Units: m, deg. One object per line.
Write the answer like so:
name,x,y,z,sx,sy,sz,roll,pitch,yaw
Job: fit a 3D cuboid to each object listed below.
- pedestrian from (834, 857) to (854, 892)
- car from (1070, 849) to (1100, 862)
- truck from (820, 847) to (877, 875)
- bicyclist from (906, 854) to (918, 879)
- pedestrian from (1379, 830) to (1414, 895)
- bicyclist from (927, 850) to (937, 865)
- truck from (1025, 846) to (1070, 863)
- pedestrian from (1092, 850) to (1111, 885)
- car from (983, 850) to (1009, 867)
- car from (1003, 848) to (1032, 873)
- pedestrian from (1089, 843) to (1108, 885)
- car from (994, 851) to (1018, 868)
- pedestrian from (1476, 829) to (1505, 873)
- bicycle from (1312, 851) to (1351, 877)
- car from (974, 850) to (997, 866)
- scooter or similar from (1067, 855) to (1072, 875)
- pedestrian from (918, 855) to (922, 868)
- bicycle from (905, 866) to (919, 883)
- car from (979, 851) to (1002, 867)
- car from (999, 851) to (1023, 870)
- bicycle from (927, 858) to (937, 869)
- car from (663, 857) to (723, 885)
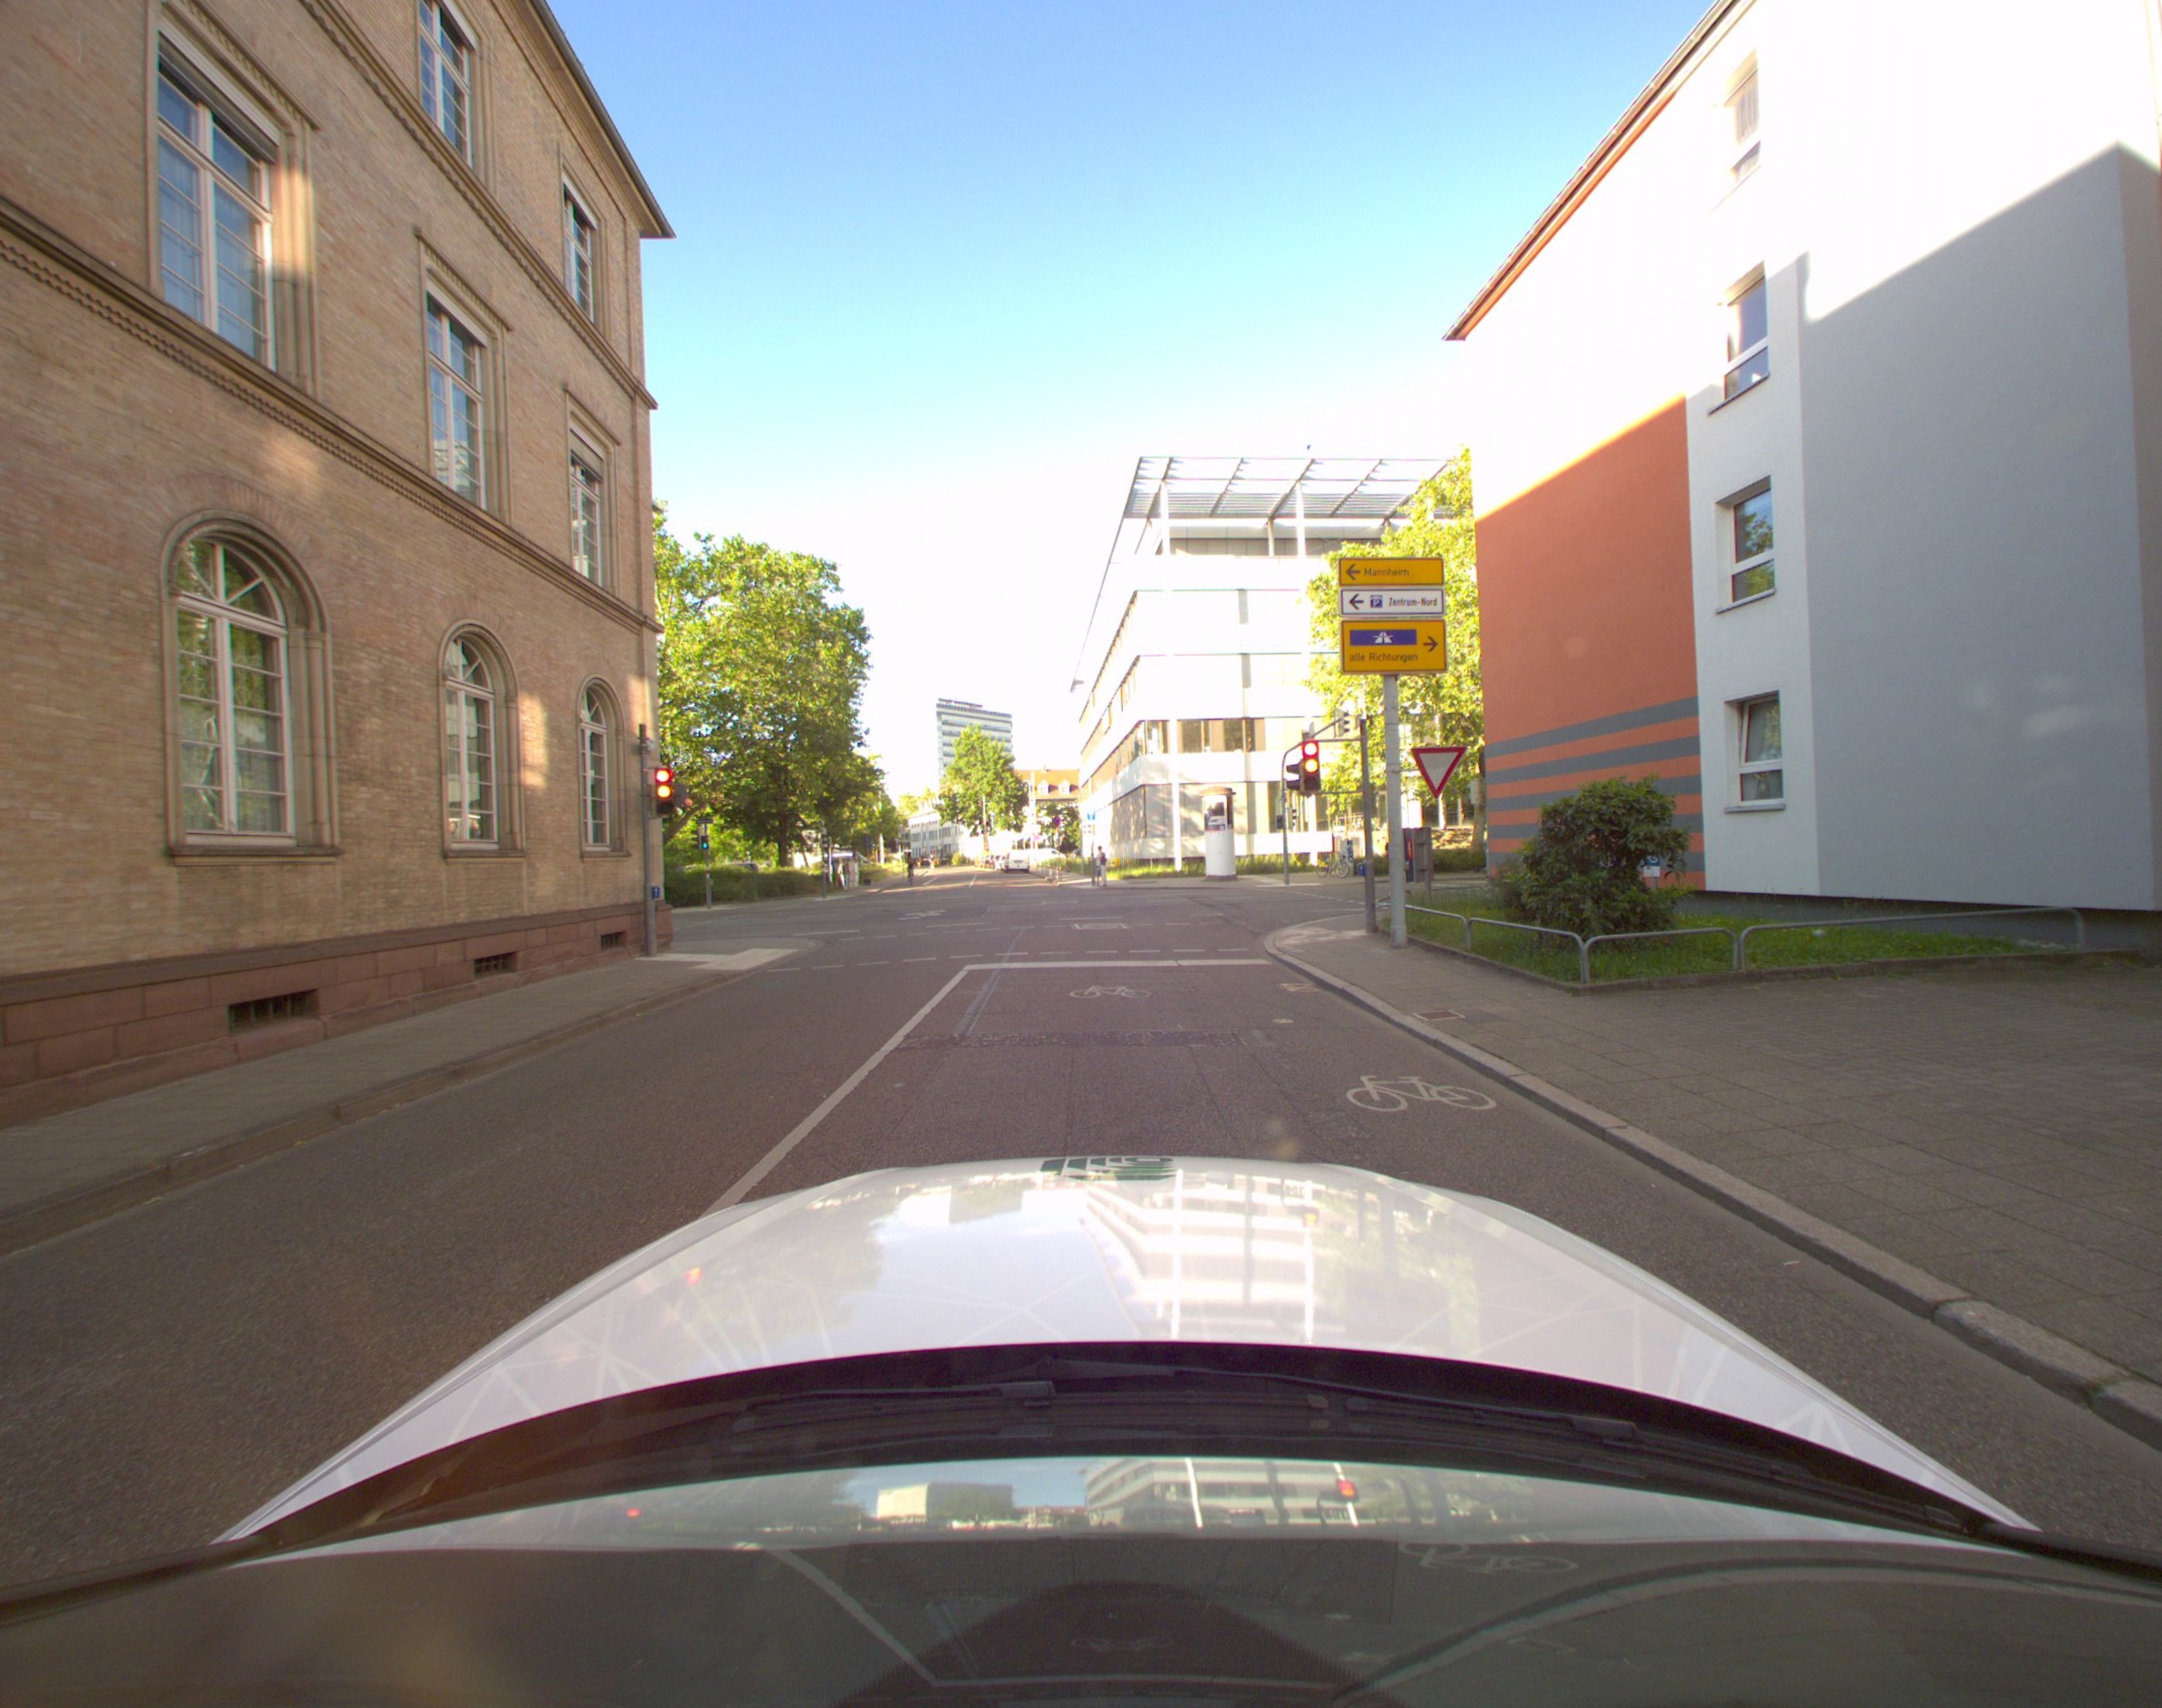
pedestrian,-12.239,1.041,42.133,0.702,1.723,0.953,-3,0,-5
car,0.520,0.208,104.400,3.563,1.546,1.549,-2,0,-17
truck,-21.602,0.609,75.802,4.825,2.399,2.082,-2,0,-8
bicyclist,-10.327,0.760,49.775,0.615,1.532,0.901,-3,0,-7
pedestrian,9.072,0.247,23.449,0.704,1.840,0.837,0,0,1
bicyclist,-16.059,0.343,87.636,0.866,1.515,1.016,-5,0,-9
truck,-4.231,0.105,103.330,5.351,2.013,1.988,-2,0,-17
pedestrian,0.924,0.615,37.291,0.561,1.540,0.673,-5,1,-16
car,-9.016,0.461,85.936,1.893,1.655,4.390,-2,1,-16
car,-5.096,0.468,64.993,2.084,1.795,4.403,-2,1,-8
pedestrian,0.832,0.457,37.900,0.555,1.850,0.680,-5,1,18
car,-7.260,0.502,78.638,1.889,1.555,4.398,-2,1,-11
pedestrian,17.169,-0.121,34.178,0.834,1.840,0.707,0,0,-8
bicycle,11.029,0.430,35.879,0.510,1.049,1.670,-4,3,-33
car,-11.264,0.456,95.934,1.893,1.655,4.390,-2,1,-16
scooter or similar,-0.823,0.775,58.716,0.329,1.424,1.333,0,-1,-4
pedestrian,-20.303,0.948,102.712,0.435,1.607,0.489,-2,0,-24
bicycle,-10.306,1.256,49.762,0.615,0.969,1.837,-3,0,-7
car,-10.131,0.503,90.910,1.893,1.655,4.390,-2,1,-16
car,-6.327,0.525,73.240,1.887,1.555,4.403,-2,1,-8
bicycle,-16.013,1.015,87.618,0.865,1.009,2.407,-5,0,-9
car,-37.160,1.641,78.094,4.551,2.391,2.069,-3,0,-7
